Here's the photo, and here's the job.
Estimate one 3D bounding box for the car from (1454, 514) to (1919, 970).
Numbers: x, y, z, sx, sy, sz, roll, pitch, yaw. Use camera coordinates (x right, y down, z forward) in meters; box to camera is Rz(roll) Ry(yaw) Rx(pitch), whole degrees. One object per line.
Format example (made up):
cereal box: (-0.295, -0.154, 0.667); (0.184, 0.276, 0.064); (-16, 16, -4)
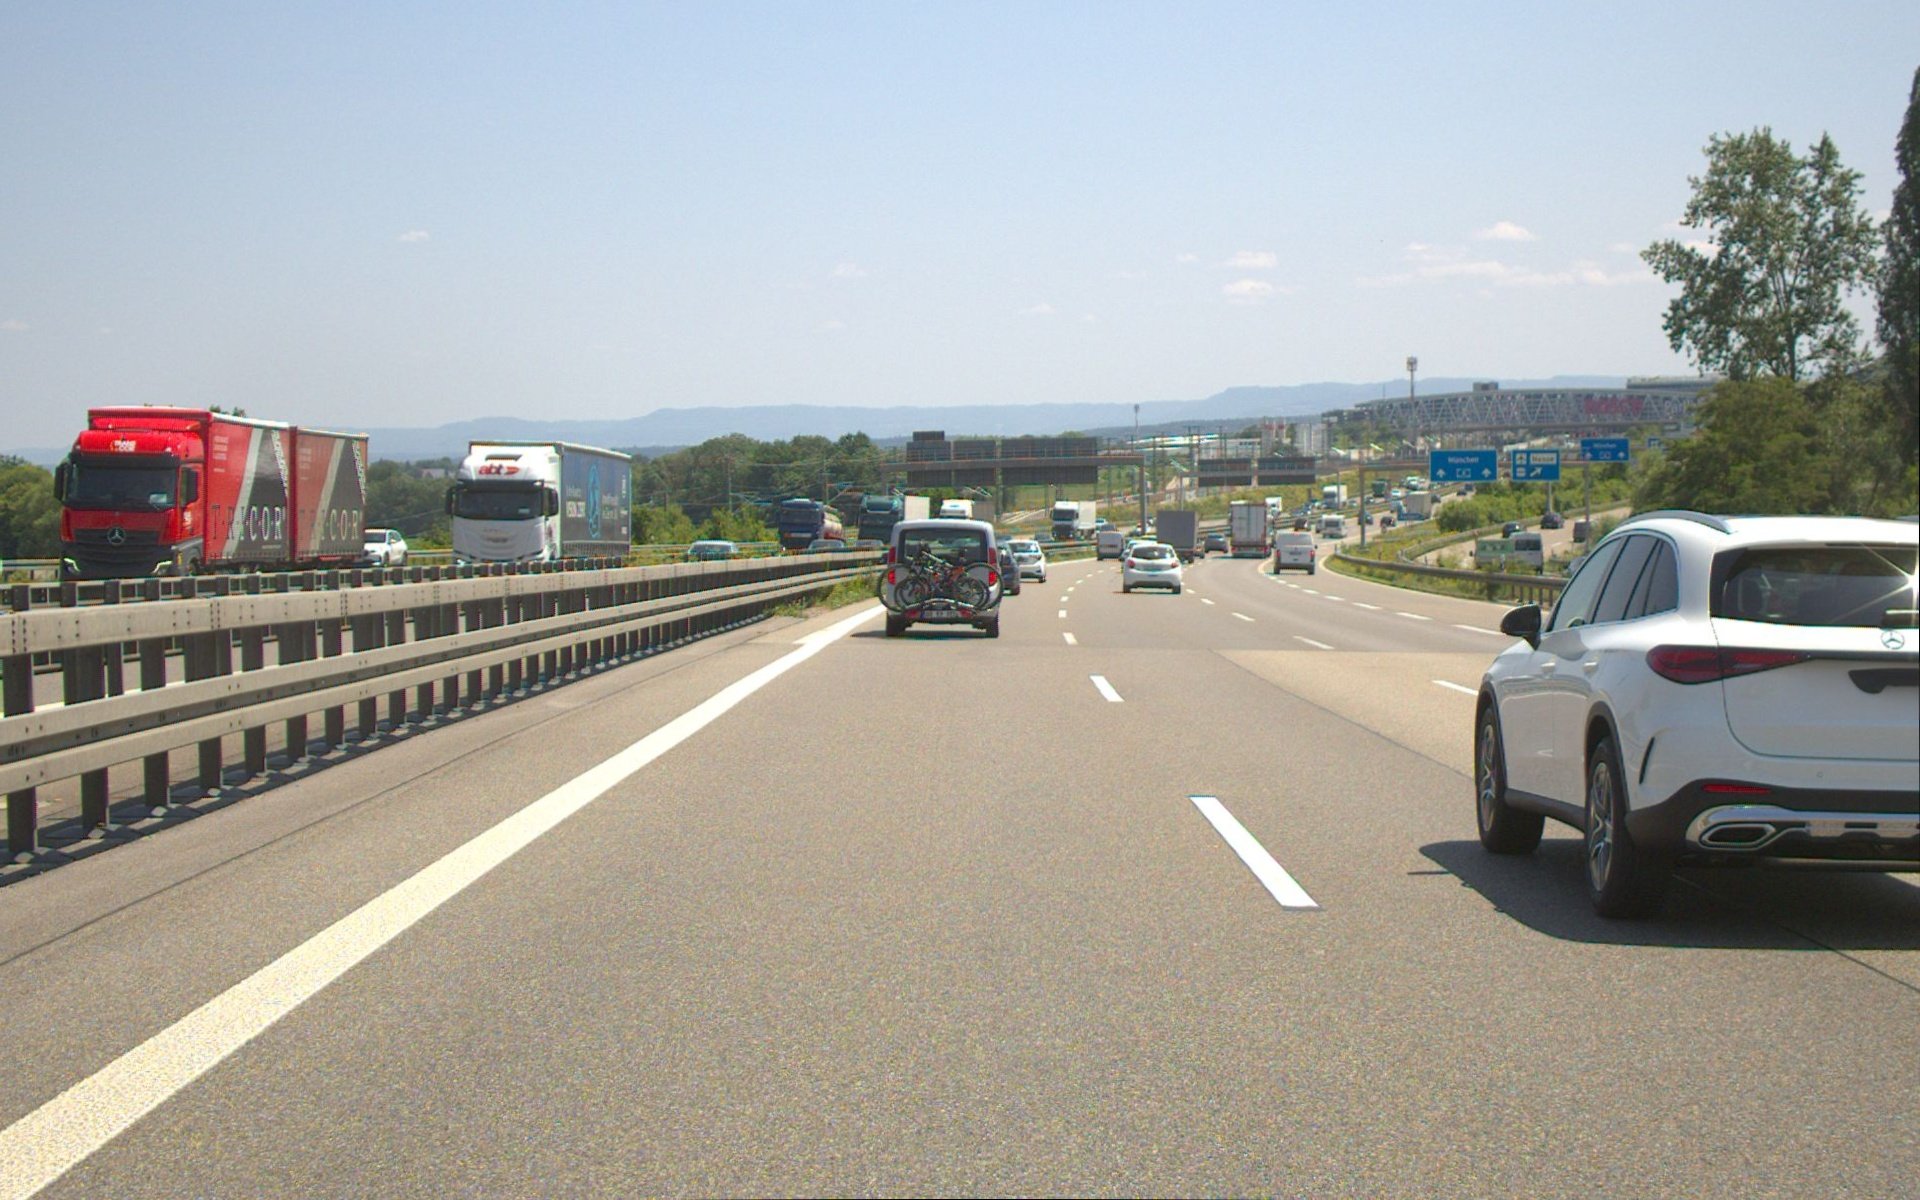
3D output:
car: (3.420, 0.480, 14.986); (1.898, 1.641, 4.998); (1, 1, 1)

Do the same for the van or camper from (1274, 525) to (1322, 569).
van or camper: (15.979, -2.508, 162.773); (2.156, 2.007, 4.304); (1, 1, 4)

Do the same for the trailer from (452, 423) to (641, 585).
trailer: (-11.845, -2.717, 100.118); (2.946, 4.327, 14.619); (1, 1, 3)

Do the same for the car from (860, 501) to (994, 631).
car: (-0.464, -0.552, 53.937); (1.926, 1.912, 4.948); (1, 1, 1)

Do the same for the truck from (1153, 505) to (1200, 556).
truck: (13.584, -4.335, 215.165); (2.703, 3.098, 10.658); (1, 1, 4)

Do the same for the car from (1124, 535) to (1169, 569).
car: (8.378, -2.168, 154.187); (1.982, 1.468, 4.000); (0, 1, 3)

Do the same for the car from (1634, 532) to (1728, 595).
car: (22.705, -1.168, 108.387); (1.939, 1.917, 4.180); (1, 1, -2)

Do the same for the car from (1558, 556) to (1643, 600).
car: (24.283, -0.859, 130.418); (1.993, 1.590, 4.001); (1, 1, -8)

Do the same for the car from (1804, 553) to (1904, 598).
car: (26.443, -0.737, 101.813); (1.699, 1.273, 4.001); (1, 1, -4)

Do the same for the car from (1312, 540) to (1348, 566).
car: (24.722, -3.123, 229.683); (1.993, 1.684, 4.000); (1, 1, 1)

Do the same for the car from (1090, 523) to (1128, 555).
car: (9.638, -3.937, 222.104); (2.186, 1.996, 3.999); (1, 1, 6)

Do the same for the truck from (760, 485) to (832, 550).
truck: (-9.866, -5.027, 208.463); (3.219, 3.772, 12.901); (1, 1, 2)

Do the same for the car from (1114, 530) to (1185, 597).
car: (5.592, -1.102, 101.968); (1.926, 1.912, 4.518); (1, 1, 1)

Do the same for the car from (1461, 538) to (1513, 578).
car: (27.183, -2.185, 177.452); (1.993, 2.007, 4.000); (1, 1, -1)

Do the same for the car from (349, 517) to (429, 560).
car: (-21.748, -2.347, 131.062); (1.678, 1.607, 4.401); (1, 1, 9)

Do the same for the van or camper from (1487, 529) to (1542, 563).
van or camper: (33.842, -3.286, 210.011); (2.529, 2.007, 4.461); (1, 1, -1)

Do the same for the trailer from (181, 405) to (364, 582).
trailer: (-16.799, -2.568, 84.553); (2.559, 4.091, 8.715); (1, 1, 1)

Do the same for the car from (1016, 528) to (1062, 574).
car: (2.783, -1.737, 120.992); (1.576, 1.547, 3.964); (1, 1, 1)

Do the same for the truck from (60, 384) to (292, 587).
truck: (-16.921, -2.426, 74.965); (2.582, 4.101, 10.349); (1, 1, 0)

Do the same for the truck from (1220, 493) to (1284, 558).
truck: (21.634, -5.568, 254.019); (4.040, 4.247, 11.755); (1, 4, 8)

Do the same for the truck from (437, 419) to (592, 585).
truck: (-12.141, -2.651, 94.239); (2.928, 4.330, 6.915); (1, 1, 3)
